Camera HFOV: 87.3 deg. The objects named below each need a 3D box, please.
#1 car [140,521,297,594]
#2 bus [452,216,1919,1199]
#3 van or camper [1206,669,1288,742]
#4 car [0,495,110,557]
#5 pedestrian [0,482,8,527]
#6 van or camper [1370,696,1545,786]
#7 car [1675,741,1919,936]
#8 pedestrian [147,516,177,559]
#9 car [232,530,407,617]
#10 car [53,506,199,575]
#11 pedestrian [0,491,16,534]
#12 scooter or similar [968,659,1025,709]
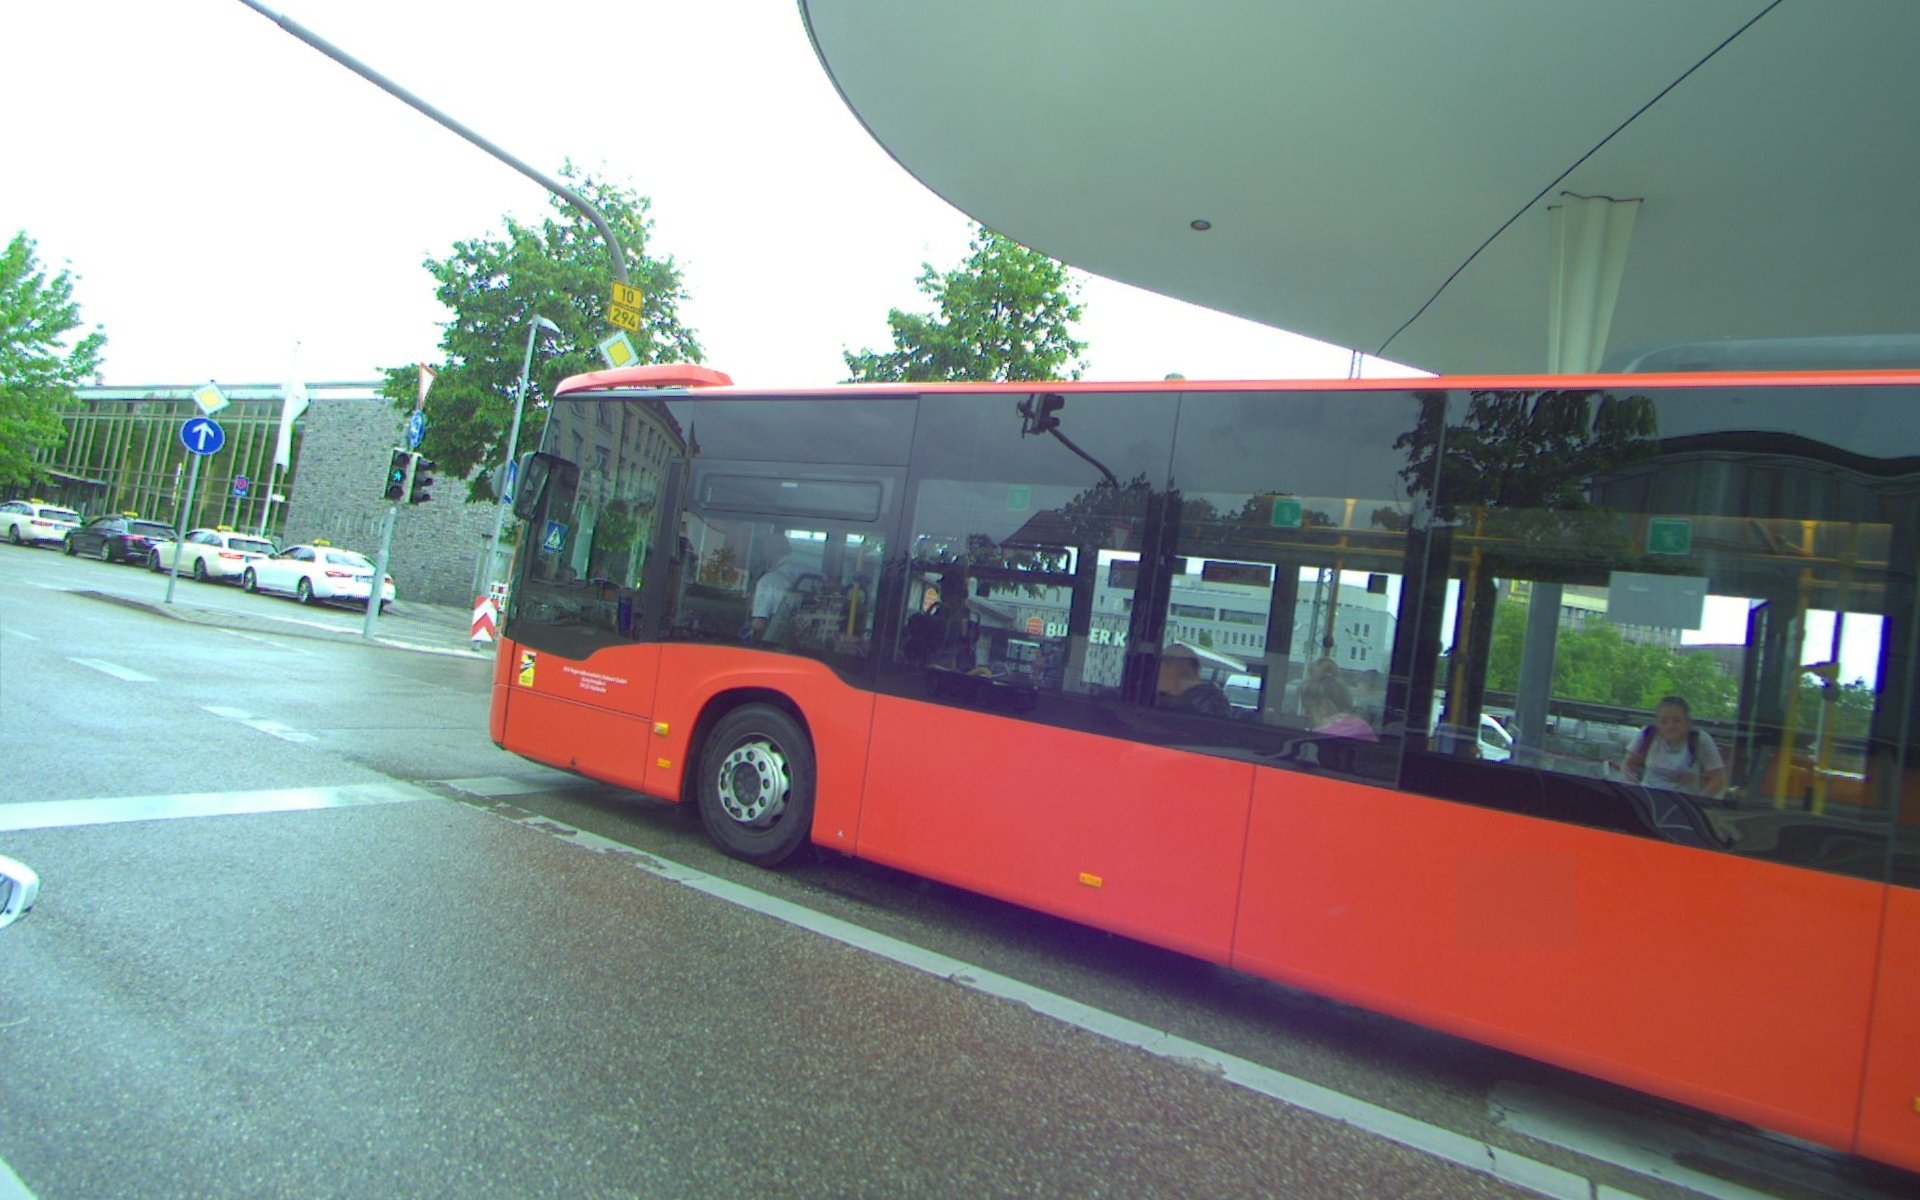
[{"bbox_3d":[-21.183,-1.218,28.704,4.588,1.468,1.851,7,-2,30],"label":"car"},{"bbox_3d":[1.560,0.257,5.662,10.025,3.210,2.749,7,-2,32],"label":"bus"},{"bbox_3d":[11.901,4.353,41.392,2.072,2.491,5.975,7,-3,25],"label":"van or camper"},{"bbox_3d":[-32.036,-2.646,34.879,4.736,1.618,2.001,7,-2,25],"label":"car"},{"bbox_3d":[-53.261,-5.313,55.354,0.848,2.439,0.844,7,-1,34],"label":"pedestrian"},{"bbox_3d":[19.697,5.521,39.929,5.873,2.491,2.108,7,-2,32],"label":"van or camper"},{"bbox_3d":[10.585,2.758,10.887,4.359,1.666,1.807,7,-4,32],"label":"car"},{"bbox_3d":[-33.962,-2.654,42.803,0.703,1.665,0.566,7,-1,27],"label":"pedestrian"},{"bbox_3d":[-16.461,-0.685,25.812,4.538,1.607,1.779,7,-2,30],"label":"car"},{"bbox_3d":[-26.449,-1.897,31.872,4.661,1.542,1.918,7,-2,30],"label":"car"},{"bbox_3d":[-48.094,-4.404,50.413,0.814,2.037,0.771,7,-1,30],"label":"pedestrian"},{"bbox_3d":[1.087,2.505,30.145,1.503,1.284,0.467,8,-1,-4],"label":"scooter or similar"}]
